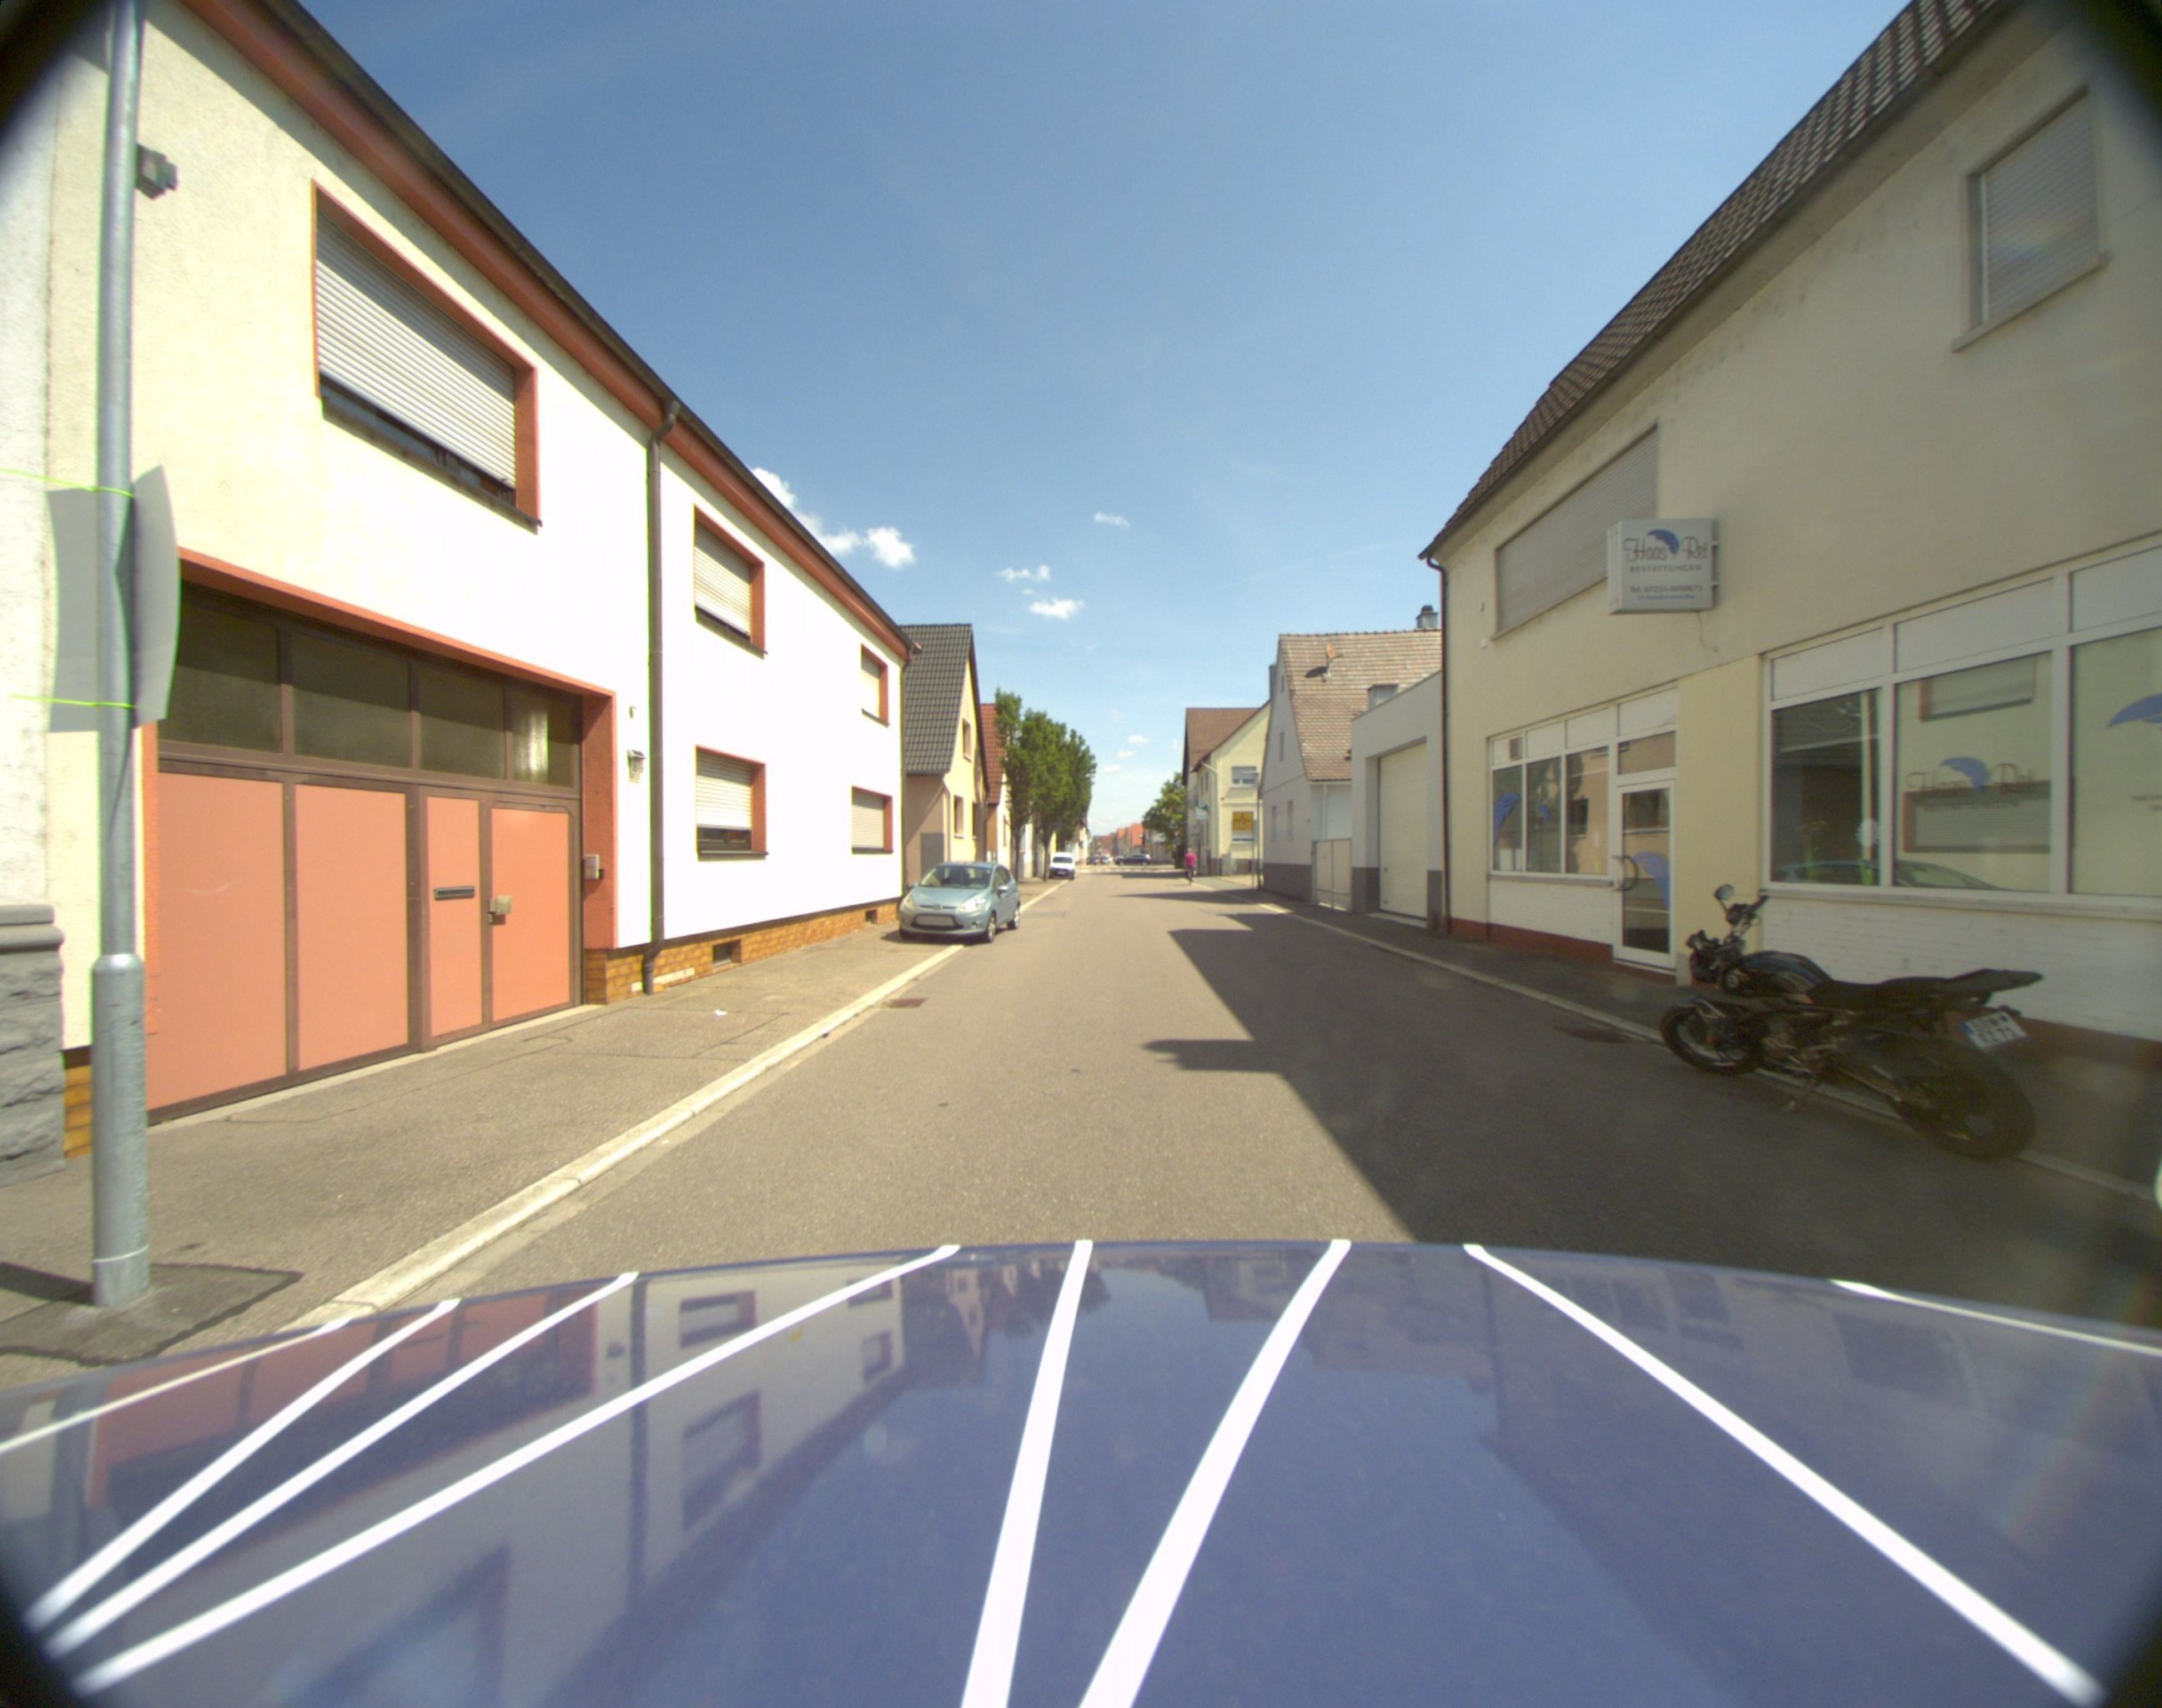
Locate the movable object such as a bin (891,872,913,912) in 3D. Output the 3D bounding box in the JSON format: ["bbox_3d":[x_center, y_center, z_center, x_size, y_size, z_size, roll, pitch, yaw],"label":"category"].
[{"bbox_3d":[-5.293,1.100,22.444,0.493,1.143,0.698,0,1,0],"label":"movable object such as a bin"}]

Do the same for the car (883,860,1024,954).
[{"bbox_3d":[-2.324,0.921,14.846,1.725,1.473,3.751,3,1,6],"label":"car"}]

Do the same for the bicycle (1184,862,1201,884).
[{"bbox_3d":[5.658,0.939,38.779,0.744,1.041,1.941,-1,0,5],"label":"bicycle"}]

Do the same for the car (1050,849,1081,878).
[{"bbox_3d":[-1.007,0.616,51.485,1.692,1.832,4.764,2,0,3],"label":"car"}]

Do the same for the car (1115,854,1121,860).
[{"bbox_3d":[10.198,0.891,209.985,1.726,1.385,4.171,-1,-2,4],"label":"car"}]

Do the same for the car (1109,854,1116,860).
[{"bbox_3d":[7.144,0.688,171.762,1.598,1.385,4.171,-1,-2,3],"label":"car"}]

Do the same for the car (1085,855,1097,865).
[{"bbox_3d":[1.604,0.992,120.085,1.598,1.385,4.171,-1,-2,3],"label":"car"}]

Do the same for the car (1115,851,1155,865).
[{"bbox_3d":[6.802,0.526,95.946,4.839,1.636,2.000,-1,1,0],"label":"car"}]

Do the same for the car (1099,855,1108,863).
[{"bbox_3d":[4.419,1.052,149.571,1.598,1.385,4.171,-1,-2,3],"label":"car"}]

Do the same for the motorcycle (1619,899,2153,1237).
[{"bbox_3d":[4.160,0.974,4.279,0.810,1.305,2.105,-1,0,2],"label":"motorcycle"}]

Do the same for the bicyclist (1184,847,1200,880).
[{"bbox_3d":[5.644,0.474,38.767,0.748,1.627,0.957,-1,1,5],"label":"bicyclist"}]

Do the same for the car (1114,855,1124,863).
[{"bbox_3d":[6.616,0.847,131.754,1.598,1.385,4.168,-2,0,2],"label":"car"}]

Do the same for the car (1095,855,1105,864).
[{"bbox_3d":[3.332,0.960,130.957,1.598,1.385,4.168,-2,0,2],"label":"car"}]
